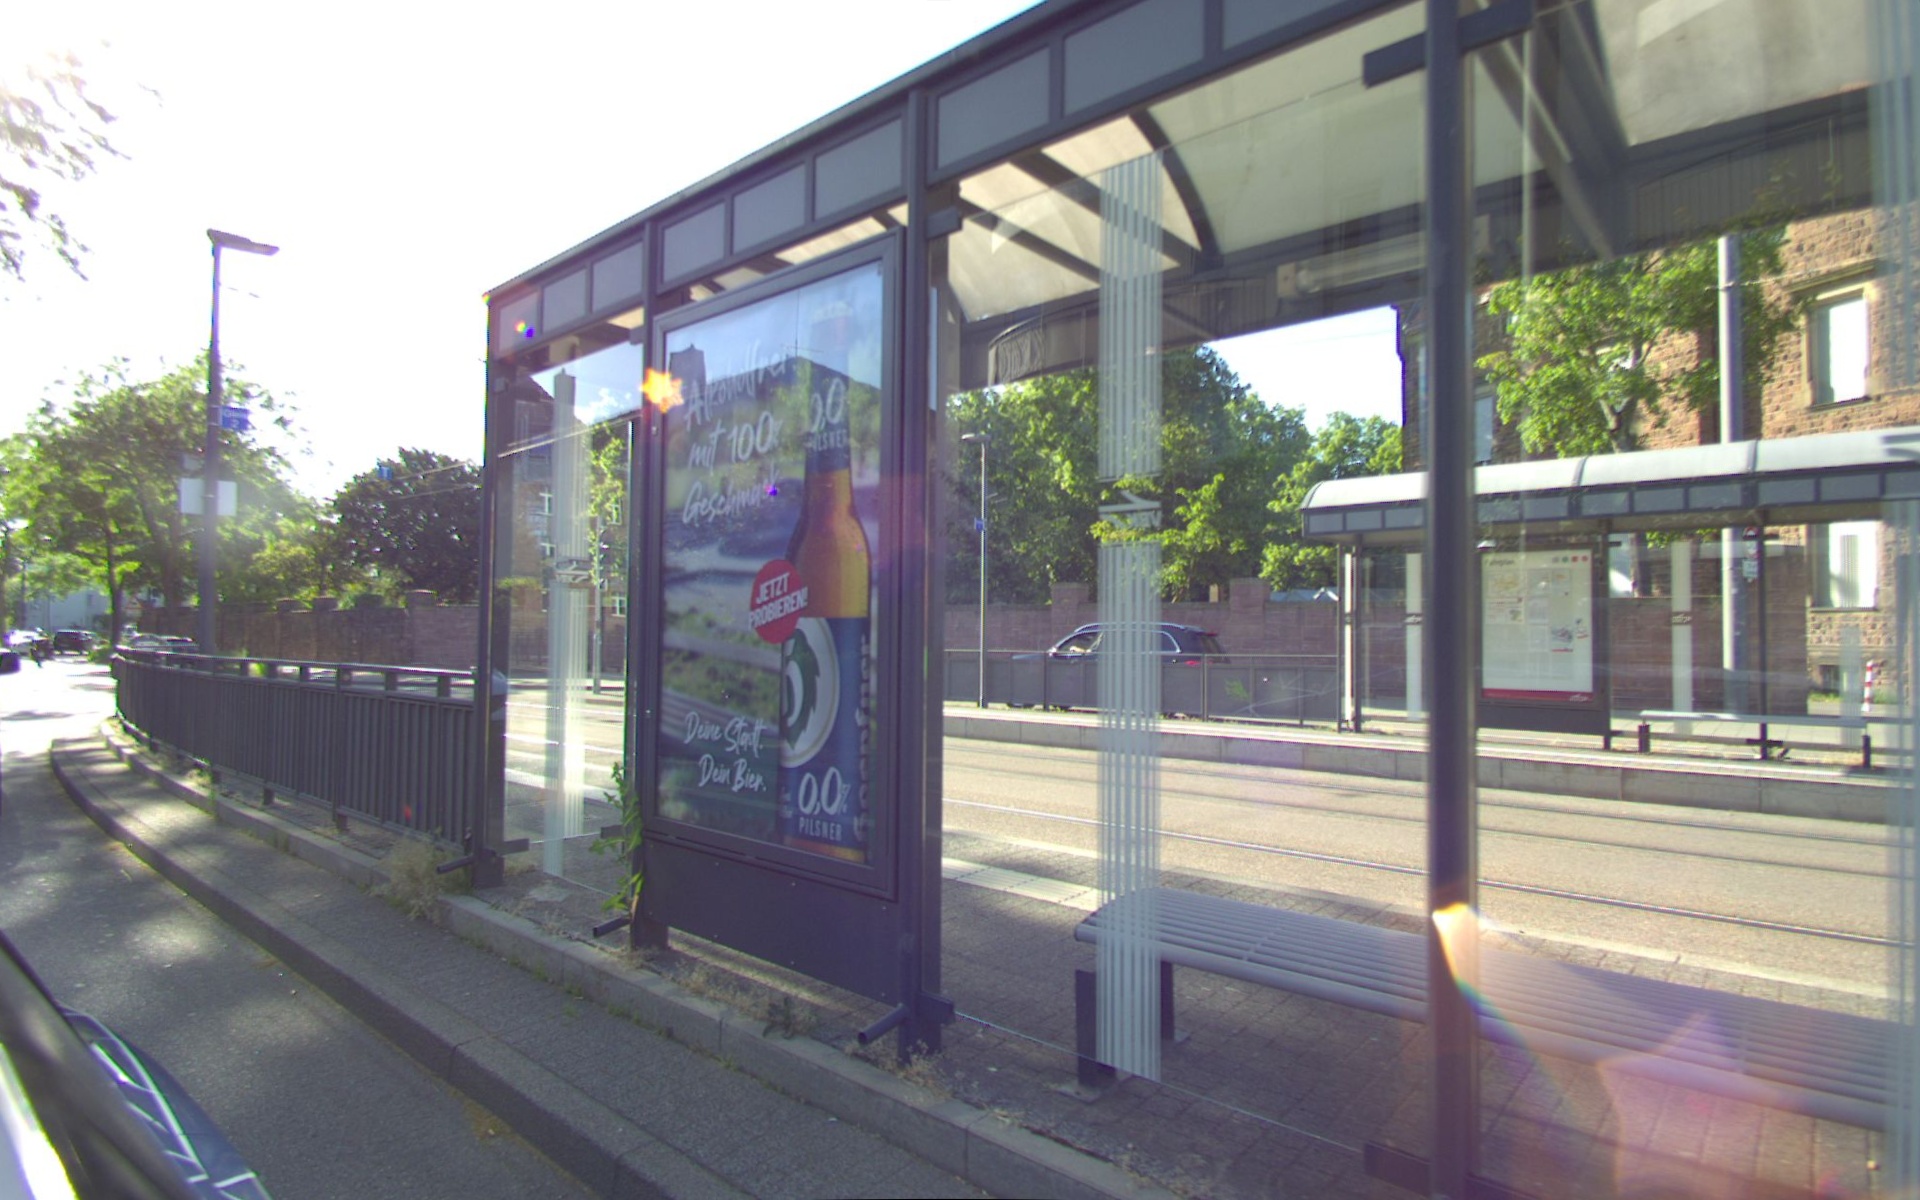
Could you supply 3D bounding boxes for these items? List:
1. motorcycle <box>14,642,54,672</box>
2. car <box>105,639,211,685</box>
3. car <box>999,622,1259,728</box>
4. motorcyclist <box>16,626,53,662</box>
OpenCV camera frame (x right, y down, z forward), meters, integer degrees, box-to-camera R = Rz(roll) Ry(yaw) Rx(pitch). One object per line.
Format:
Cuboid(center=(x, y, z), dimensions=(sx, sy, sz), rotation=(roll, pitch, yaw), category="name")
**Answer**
Cuboid(center=(-40.119, 2.446, 43.844), dimensions=(2.574, 1.253, 1.117), rotation=(-1, -2, 45), category="motorcycle")
Cuboid(center=(-26.978, 2.056, 34.016), dimensions=(3.976, 1.414, 1.838), rotation=(-1, -3, 37), category="car")
Cuboid(center=(2.976, 1.284, 18.430), dimensions=(4.357, 1.690, 1.886), rotation=(-2, -3, 42), category="car")
Cuboid(center=(-40.068, 1.877, 43.806), dimensions=(1.056, 1.537, 1.112), rotation=(-2, -2, 44), category="motorcyclist")
